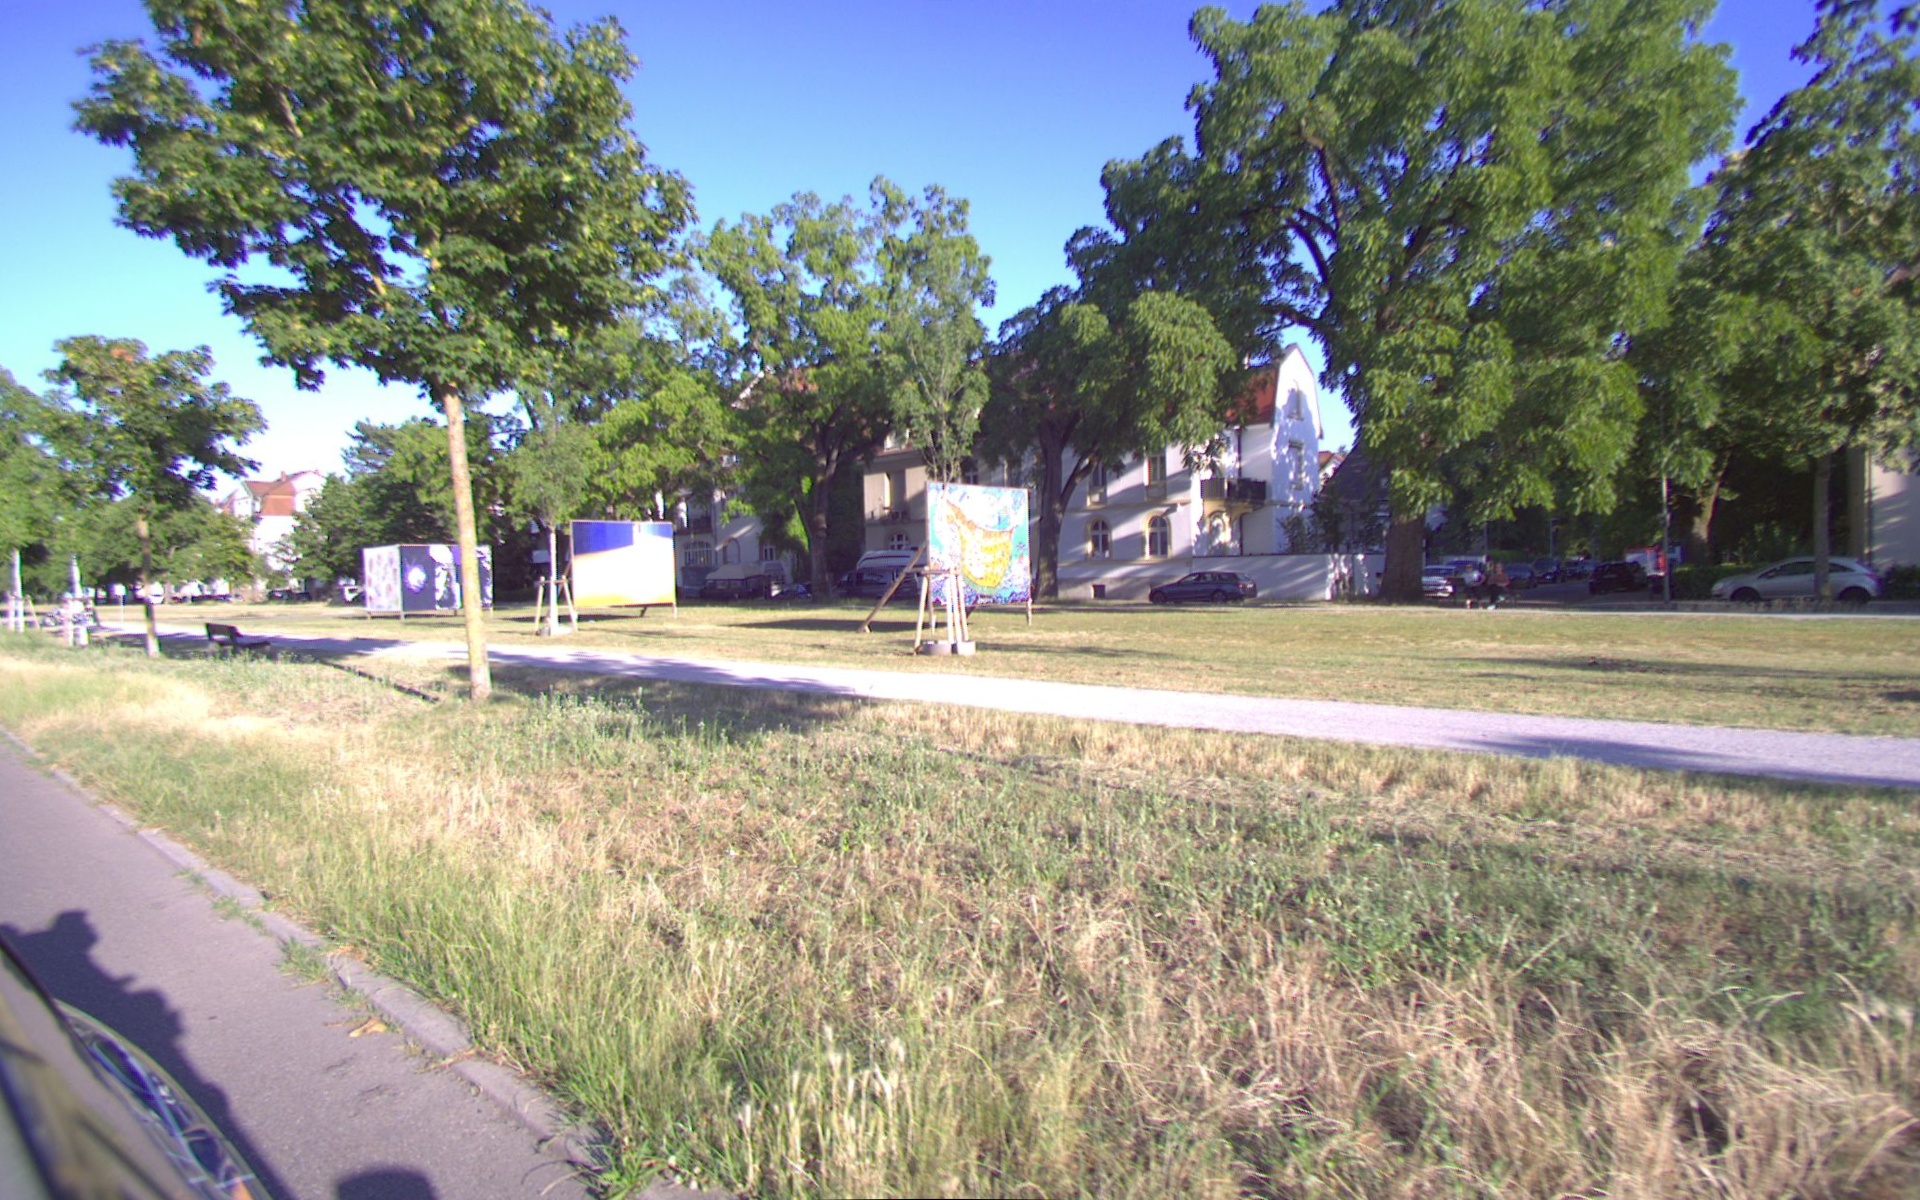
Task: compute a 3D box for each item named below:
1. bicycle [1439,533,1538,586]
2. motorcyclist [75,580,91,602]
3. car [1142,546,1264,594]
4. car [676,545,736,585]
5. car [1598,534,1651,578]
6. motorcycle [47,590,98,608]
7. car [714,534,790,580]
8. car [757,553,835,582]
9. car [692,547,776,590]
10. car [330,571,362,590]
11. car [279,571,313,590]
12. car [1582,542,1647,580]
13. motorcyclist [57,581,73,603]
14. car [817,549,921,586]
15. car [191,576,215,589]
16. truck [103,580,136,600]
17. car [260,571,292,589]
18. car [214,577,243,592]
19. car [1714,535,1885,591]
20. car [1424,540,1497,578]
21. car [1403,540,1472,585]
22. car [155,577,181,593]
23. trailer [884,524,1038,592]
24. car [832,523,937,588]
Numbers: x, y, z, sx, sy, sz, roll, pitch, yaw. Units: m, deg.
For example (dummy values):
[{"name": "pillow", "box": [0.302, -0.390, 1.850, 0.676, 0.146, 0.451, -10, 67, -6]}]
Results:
[{"name": "bicycle", "box": [14.236, -1.078, 27.313, 2.331, 1.352, 0.505, 0, 2, 45]}, {"name": "motorcyclist", "box": [-47.650, -0.491, 54.993, 0.566, 1.158, 0.752, -3, 2, -38]}, {"name": "car", "box": [10.227, -1.257, 42.769, 4.713, 1.926, 1.870, 0, 2, 42]}, {"name": "car", "box": [-16.677, -2.316, 66.377, 3.999, 2.560, 1.973, 3, 3, 42]}, {"name": "car", "box": [33.802, -2.230, 51.442, 1.869, 2.139, 3.948, 0, 3, 39]}, {"name": "motorcycle", "box": [-47.976, -0.057, 54.738, 2.078, 0.964, 0.567, -1, 1, -41]}, {"name": "car", "box": [-13.042, -2.672, 63.276, 5.043, 2.659, 1.924, 2, 0, 42]}, {"name": "car", "box": [-8.348, -1.640, 51.233, 4.044, 1.325, 1.832, 1, 4, 44]}, {"name": "car", "box": [-12.257, -1.666, 54.773, 4.566, 2.190, 1.974, -1, 1, 39]}, {"name": "car", "box": [-67.976, -2.169, 111.997, 4.001, 2.028, 1.971, 1, 2, 44]}, {"name": "car", "box": [-68.790, -2.007, 104.846, 4.000, 1.858, 1.972, 2, 0, 42]}, {"name": "car", "box": [30.744, -1.850, 47.490, 2.178, 1.692, 4.093, 0, 3, 39]}, {"name": "motorcyclist", "box": [-48.234, -0.443, 54.526, 0.566, 1.158, 0.752, -3, 2, -38]}, {"name": "car", "box": [-4.343, -1.519, 47.832, 4.948, 1.654, 1.974, 1, 4, 40]}, {"name": "car", "box": [-113.354, -2.624, 151.567, 3.996, 1.859, 1.974, 2, 0, 39]}, {"name": "truck", "box": [-139.076, -1.575, 167.408, 7.705, 3.169, 2.750, 0, 2, 40]}, {"name": "car", "box": [-73.897, -2.167, 109.293, 4.000, 1.858, 1.972, 2, 0, 42]}, {"name": "car", "box": [-88.967, -1.874, 123.055, 3.999, 1.715, 1.973, 0, 1, 42]}, {"name": "car", "box": [24.790, -1.072, 30.025, 3.806, 1.554, 1.974, 0, 3, 40]}, {"name": "car", "box": [24.684, -2.024, 49.832, 2.070, 1.782, 5.001, 0, 3, 40]}, {"name": "car", "box": [21.454, -1.690, 45.378, 1.978, 1.914, 4.471, 0, 2, 37]}, {"name": "car", "box": [-112.450, -2.132, 143.666, 3.997, 2.029, 2.098, 2, 0, 40]}, {"name": "trailer", "box": [-0.056, -1.789, 43.857, 6.633, 2.679, 2.448, 2, 0, 41]}, {"name": "car", "box": [-4.201, -2.373, 55.245, 6.072, 3.273, 1.973, 0, 1, 41]}]
